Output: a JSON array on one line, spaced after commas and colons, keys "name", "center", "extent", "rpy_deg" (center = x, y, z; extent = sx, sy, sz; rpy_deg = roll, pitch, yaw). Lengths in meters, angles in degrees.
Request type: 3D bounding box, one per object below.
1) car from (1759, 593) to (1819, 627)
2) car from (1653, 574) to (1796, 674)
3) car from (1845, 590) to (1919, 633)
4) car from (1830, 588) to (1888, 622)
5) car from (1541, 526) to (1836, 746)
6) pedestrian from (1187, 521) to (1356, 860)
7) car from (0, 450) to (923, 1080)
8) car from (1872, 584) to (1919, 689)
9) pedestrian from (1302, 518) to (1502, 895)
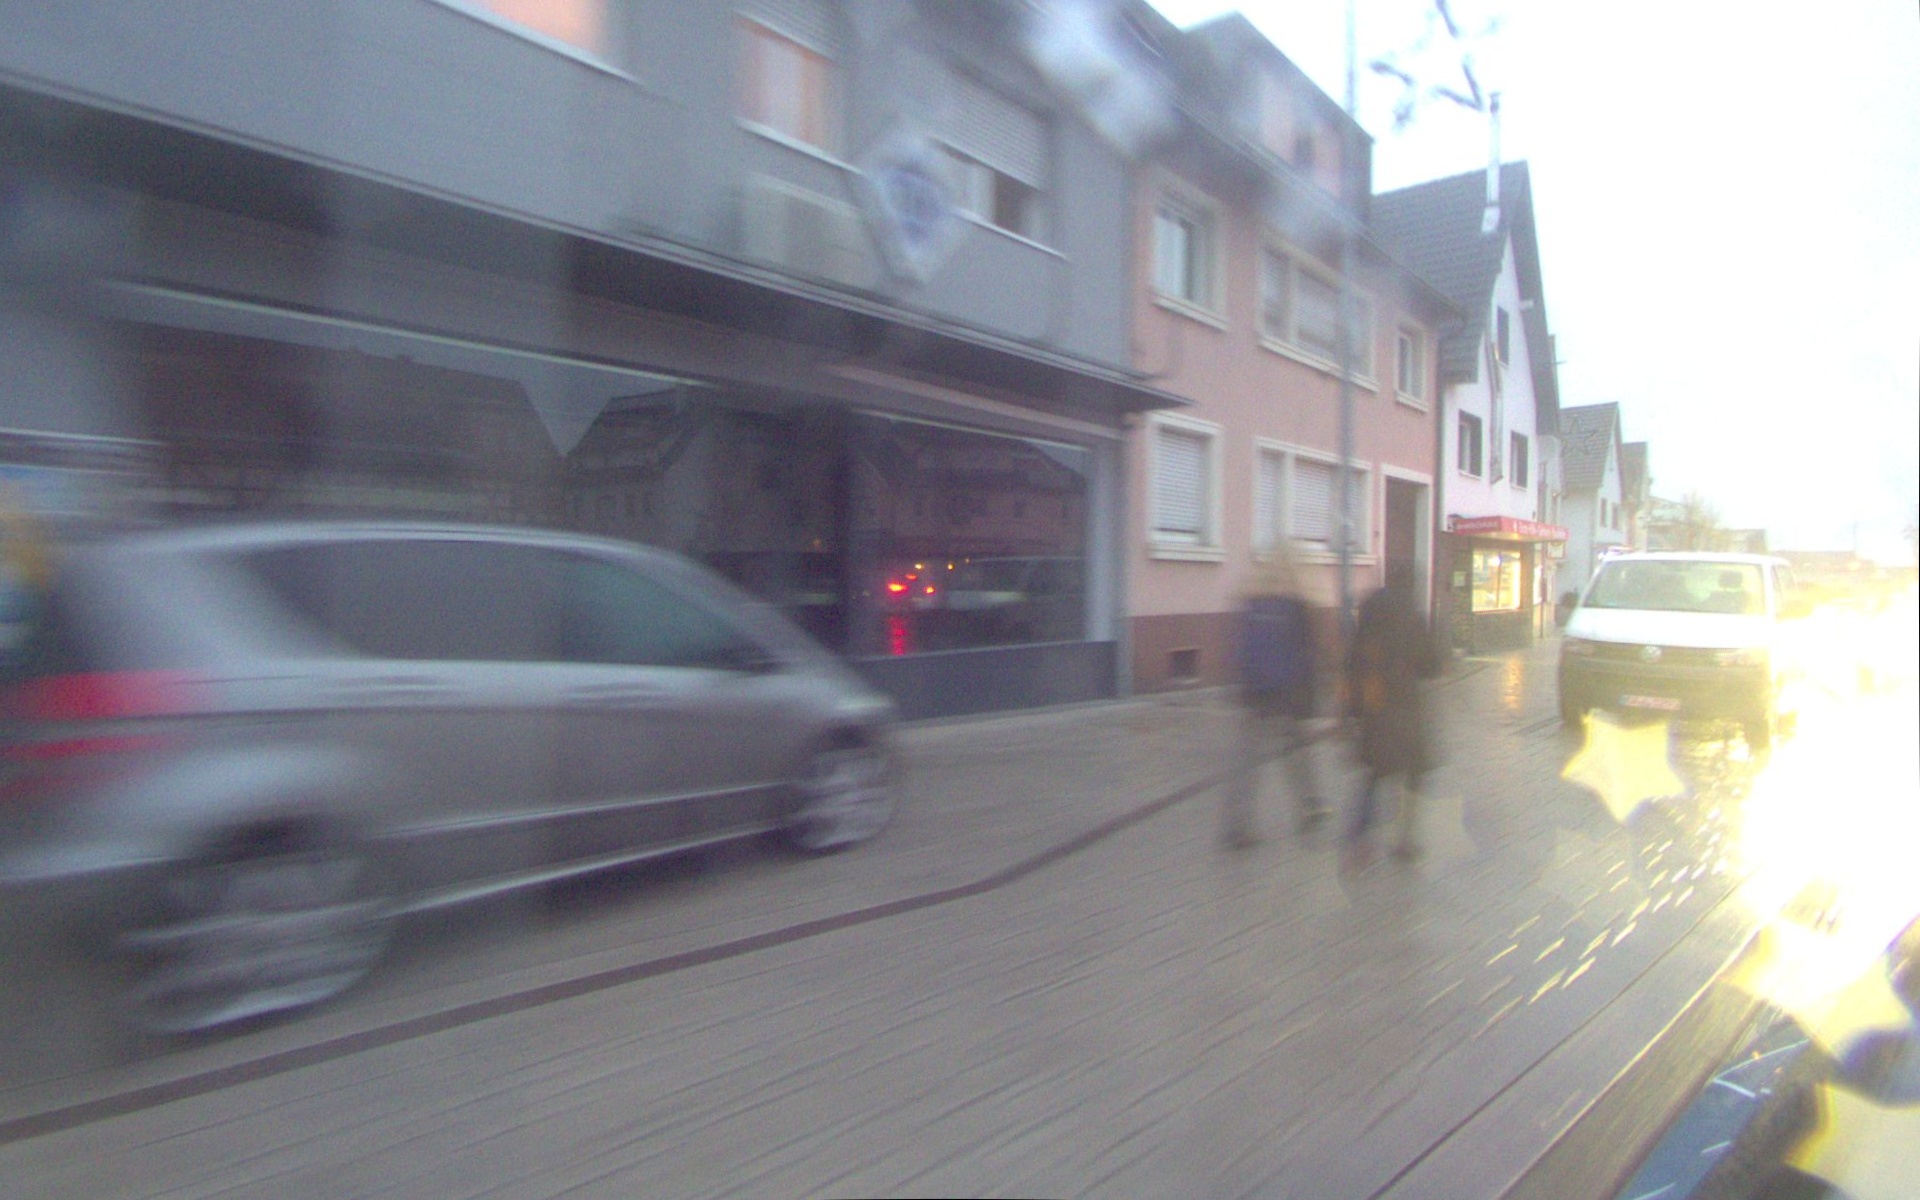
[{"name": "car", "center": [34.100, 0.379, 41.711], "extent": [1.656, 1.227, 3.729], "rpy_deg": [2, 2, 36]}, {"name": "car", "center": [14.770, 0.395, 19.638], "extent": [1.970, 1.681, 4.400], "rpy_deg": [2, 1, 37]}, {"name": "car", "center": [36.103, 0.400, 39.509], "extent": [1.820, 1.537, 4.490], "rpy_deg": [2, 1, 35]}, {"name": "car", "center": [43.245, 0.232, 48.762], "extent": [1.615, 1.498, 3.789], "rpy_deg": [3, 1, 35]}, {"name": "car", "center": [8.439, 0.305, 11.524], "extent": [1.974, 1.984, 4.773], "rpy_deg": [2, 1, 45]}, {"name": "pedestrian", "center": [1.705, 0.439, 5.517], "extent": [0.579, 1.690, 0.779], "rpy_deg": [2, 1, 42]}, {"name": "car", "center": [-1.993, 0.371, 4.467], "extent": [1.731, 1.580, 3.613], "rpy_deg": [3, 2, 38]}, {"name": "car", "center": [17.363, 0.563, 17.484], "extent": [2.262, 1.663, 4.991], "rpy_deg": [1, 1, 41]}, {"name": "pedestrian", "center": [2.251, 0.469, 5.142], "extent": [0.712, 1.720, 0.793], "rpy_deg": [2, 1, 39]}]
